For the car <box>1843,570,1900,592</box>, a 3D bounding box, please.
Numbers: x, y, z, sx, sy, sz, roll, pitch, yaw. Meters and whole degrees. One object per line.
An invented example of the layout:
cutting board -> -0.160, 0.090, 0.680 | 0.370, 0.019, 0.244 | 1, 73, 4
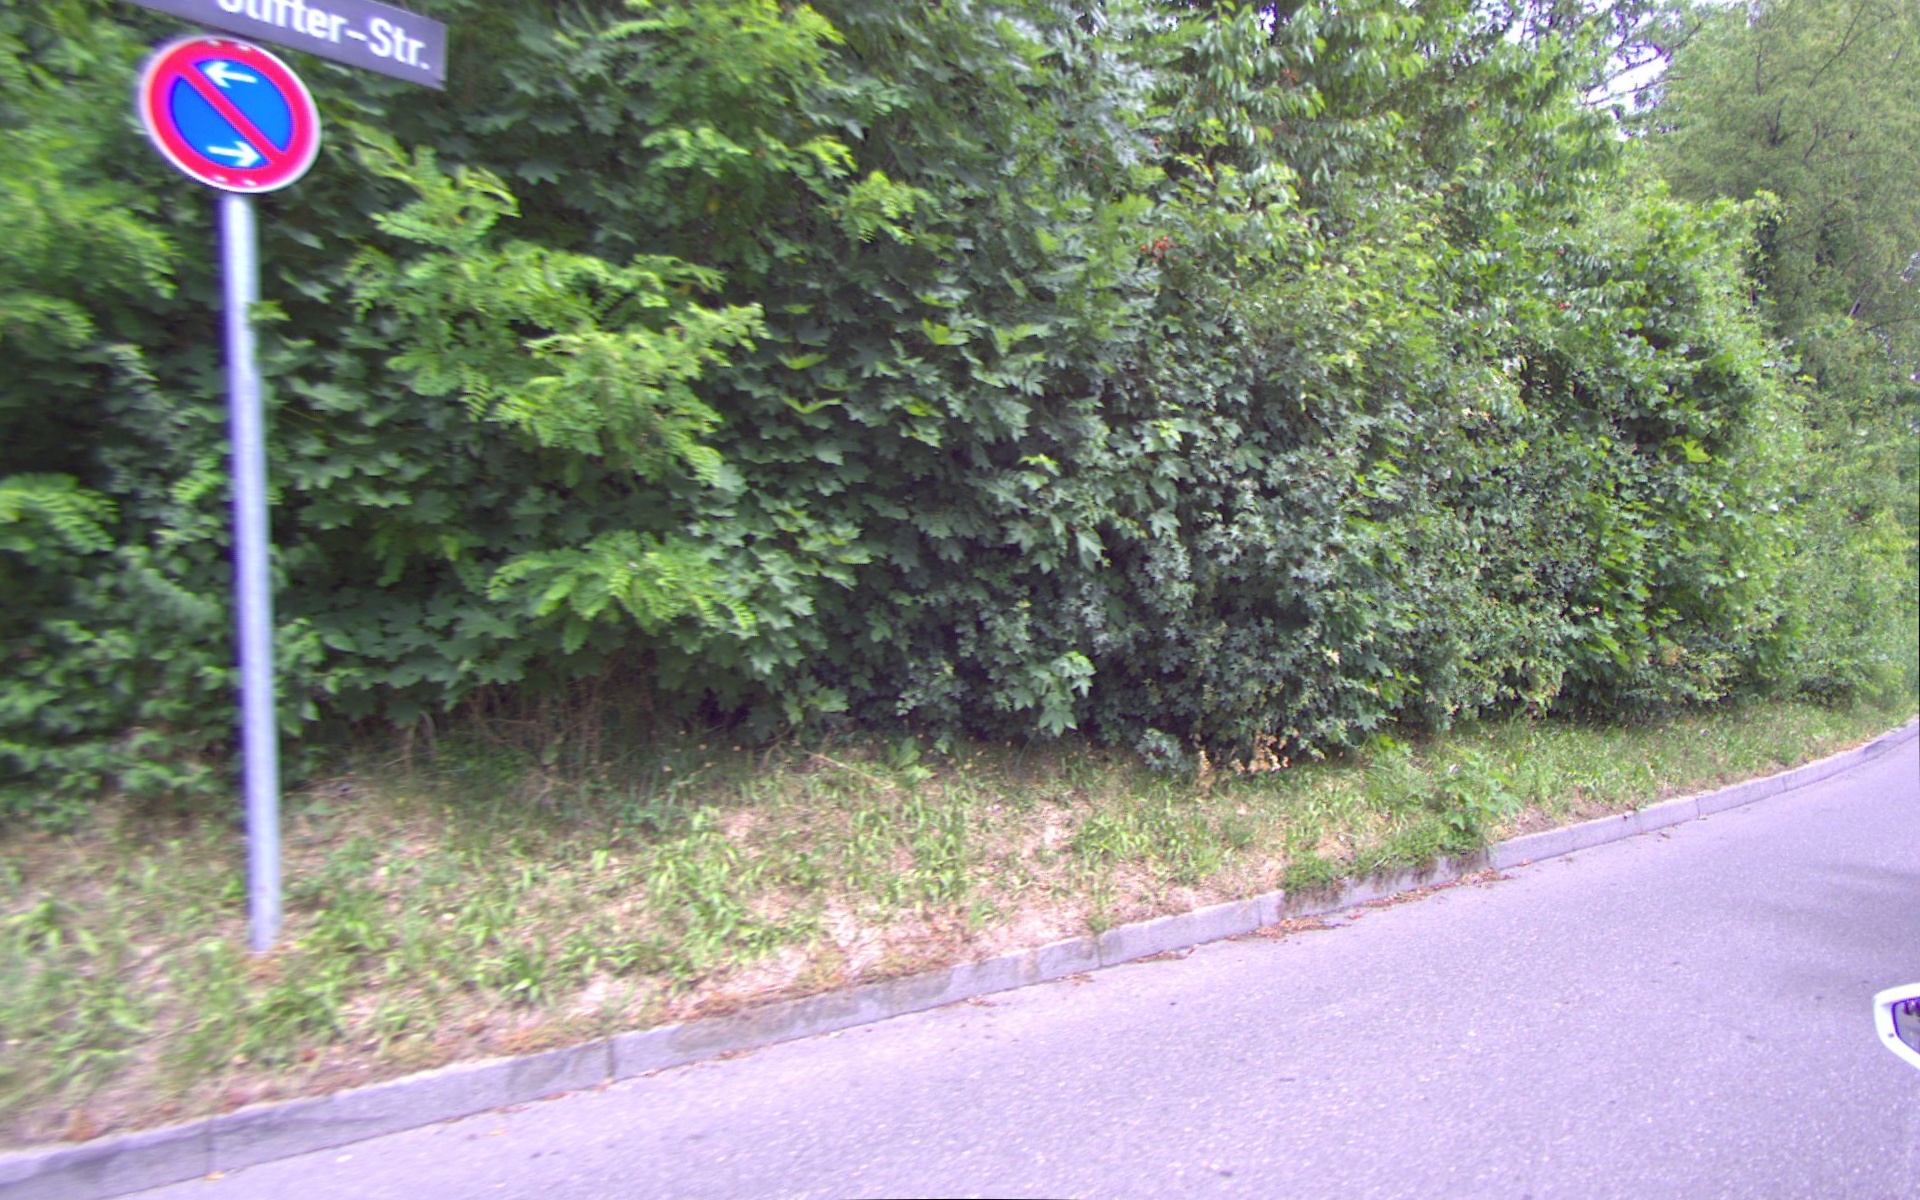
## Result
car -> 56.953, -1.213, 62.824 | 1.814, 1.350, 3.991 | 2, 3, 30
